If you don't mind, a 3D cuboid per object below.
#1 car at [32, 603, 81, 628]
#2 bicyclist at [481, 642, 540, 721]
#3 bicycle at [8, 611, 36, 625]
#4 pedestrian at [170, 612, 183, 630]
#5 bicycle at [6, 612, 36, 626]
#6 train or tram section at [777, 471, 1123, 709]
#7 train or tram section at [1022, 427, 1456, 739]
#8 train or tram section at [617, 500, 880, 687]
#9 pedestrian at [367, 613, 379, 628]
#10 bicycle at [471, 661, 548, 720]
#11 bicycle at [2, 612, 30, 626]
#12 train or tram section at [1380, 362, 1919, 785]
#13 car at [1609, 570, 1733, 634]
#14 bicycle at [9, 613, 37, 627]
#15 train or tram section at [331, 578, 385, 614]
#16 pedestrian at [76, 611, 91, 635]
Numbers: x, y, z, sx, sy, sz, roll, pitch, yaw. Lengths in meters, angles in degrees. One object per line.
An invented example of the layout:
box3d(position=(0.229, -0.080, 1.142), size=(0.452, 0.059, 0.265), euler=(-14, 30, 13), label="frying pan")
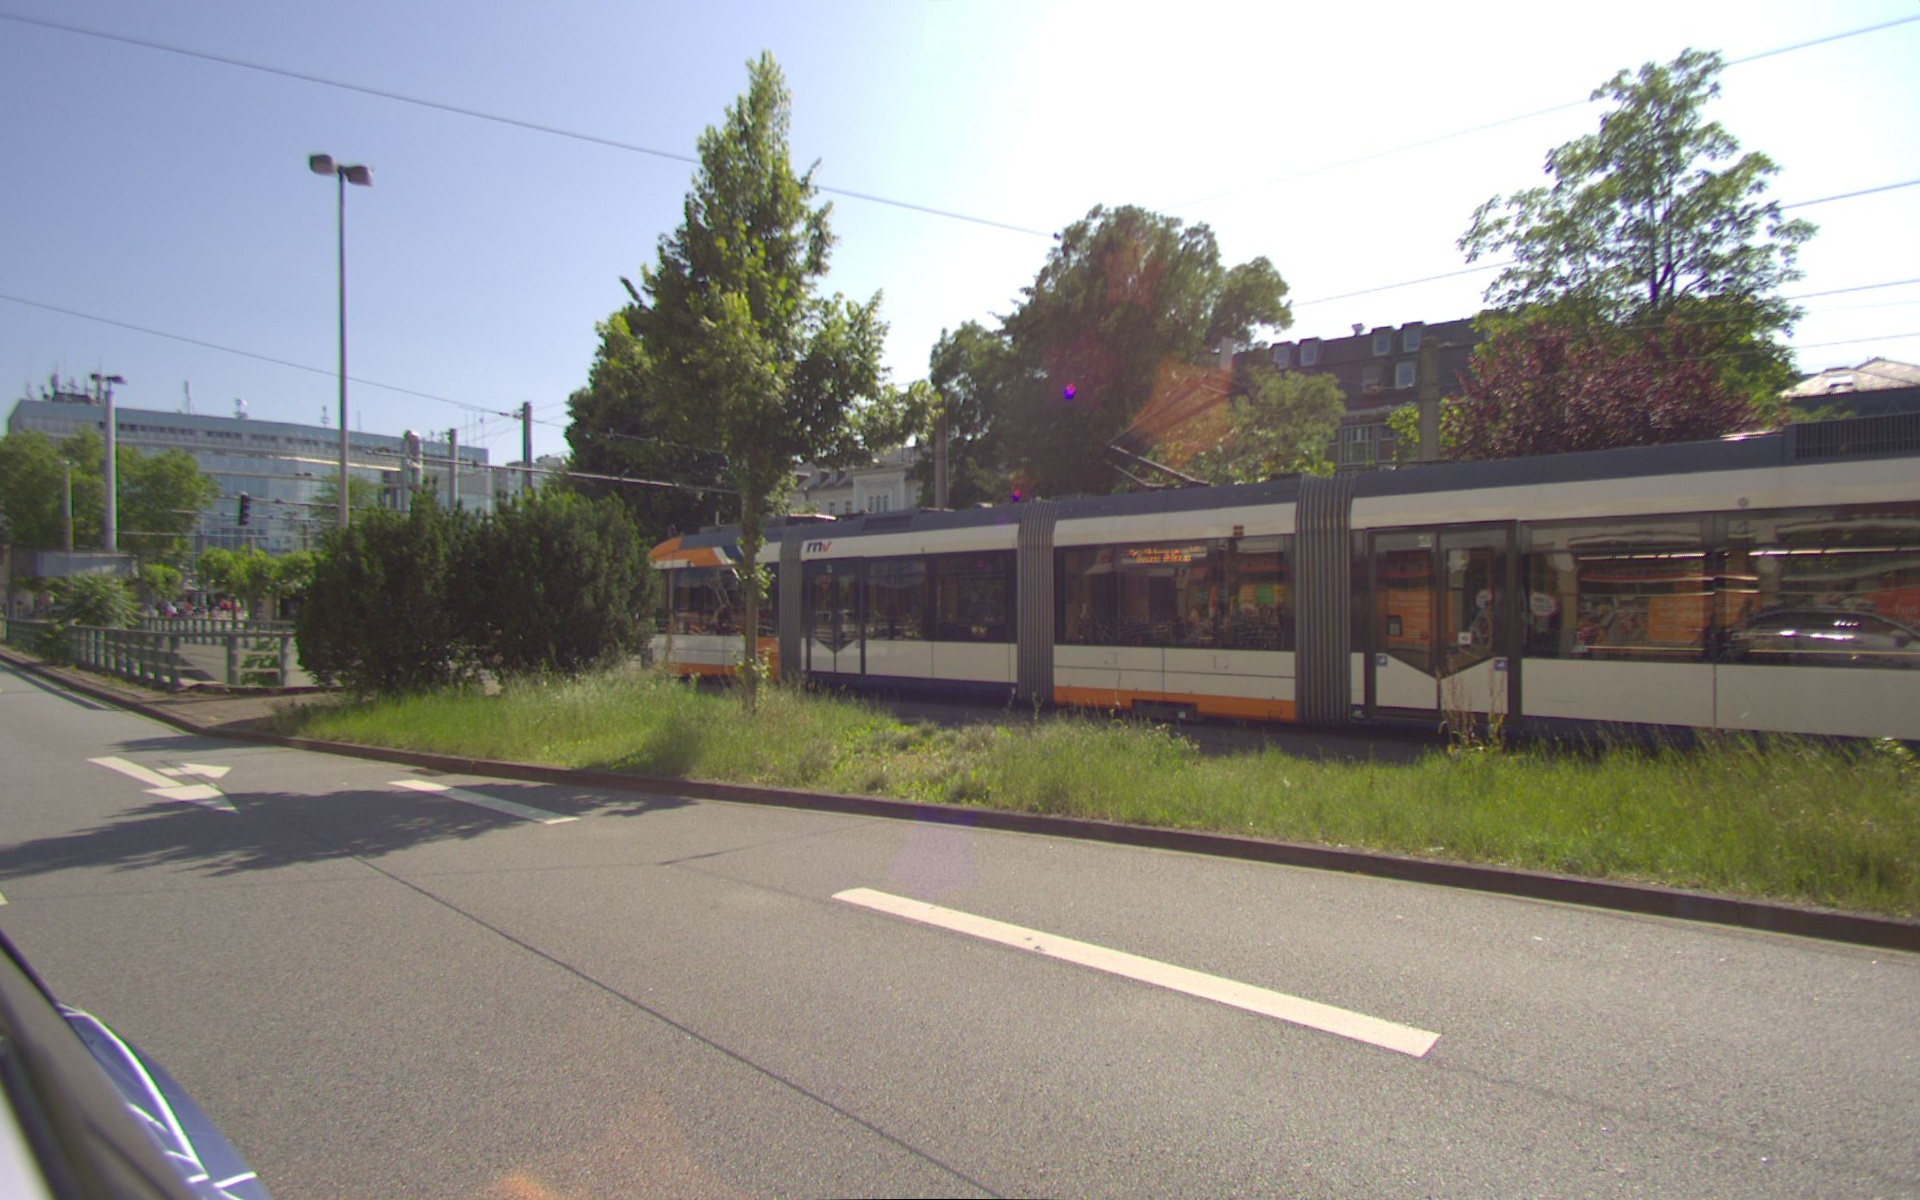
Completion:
box3d(position=(-82.481, 1.362, 92.452), size=(1.965, 2.028, 5.084), euler=(-2, 2, -26), label="car")
box3d(position=(-9.637, 1.738, 21.695), size=(0.902, 1.634, 0.808), euler=(-1, -4, 43), label="bicyclist")
box3d(position=(-80.923, 1.537, 87.334), size=(0.482, 1.156, 1.734), euler=(0, 1, 40), label="bicycle")
box3d(position=(-64.887, 1.703, 83.799), size=(0.549, 1.477, 0.621), euler=(0, -2, 20), label="pedestrian")
box3d(position=(-81.525, 1.664, 87.897), size=(0.482, 1.156, 1.841), euler=(0, 1, 40), label="bicycle")
box3d(position=(-0.366, -0.189, 18.406), size=(6.103, 3.607, 2.585), euler=(0, 2, 43), label="train or tram section")
box3d(position=(3.811, -0.229, 14.478), size=(5.356, 3.607, 2.585), euler=(0, 2, 43), label="train or tram section")
box3d(position=(-4.846, -0.193, 22.532), size=(6.103, 3.607, 2.586), euler=(0, 2, 43), label="train or tram section")
box3d(position=(-41.786, 1.471, 72.055), size=(0.627, 1.008, 0.580), euler=(3, -3, -45), label="pedestrian")
box3d(position=(-9.669, 1.915, 21.688), size=(1.874, 1.129, 0.808), euler=(0, -2, 43), label="bicycle")
box3d(position=(-82.770, 1.664, 88.740), size=(0.482, 1.156, 1.734), euler=(0, 1, 40), label="bicycle")
box3d(position=(8.282, -0.265, 10.318), size=(6.898, 3.607, 2.585), euler=(0, 2, 43), label="train or tram section")
box3d(position=(39.389, 0.057, 56.146), size=(5.419, 3.341, 2.104), euler=(0, 2, 42), label="car")
box3d(position=(-80.555, 1.678, 87.001), size=(0.482, 1.156, 1.734), euler=(0, 1, 40), label="bicycle")
box3d(position=(-68.638, -0.560, 115.616), size=(2.578, 3.855, 9.546), euler=(-2, 2, -14), label="train or tram section")
box3d(position=(-64.703, 1.685, 74.699), size=(0.582, 1.747, 0.524), euler=(0, -2, 13), label="pedestrian")
